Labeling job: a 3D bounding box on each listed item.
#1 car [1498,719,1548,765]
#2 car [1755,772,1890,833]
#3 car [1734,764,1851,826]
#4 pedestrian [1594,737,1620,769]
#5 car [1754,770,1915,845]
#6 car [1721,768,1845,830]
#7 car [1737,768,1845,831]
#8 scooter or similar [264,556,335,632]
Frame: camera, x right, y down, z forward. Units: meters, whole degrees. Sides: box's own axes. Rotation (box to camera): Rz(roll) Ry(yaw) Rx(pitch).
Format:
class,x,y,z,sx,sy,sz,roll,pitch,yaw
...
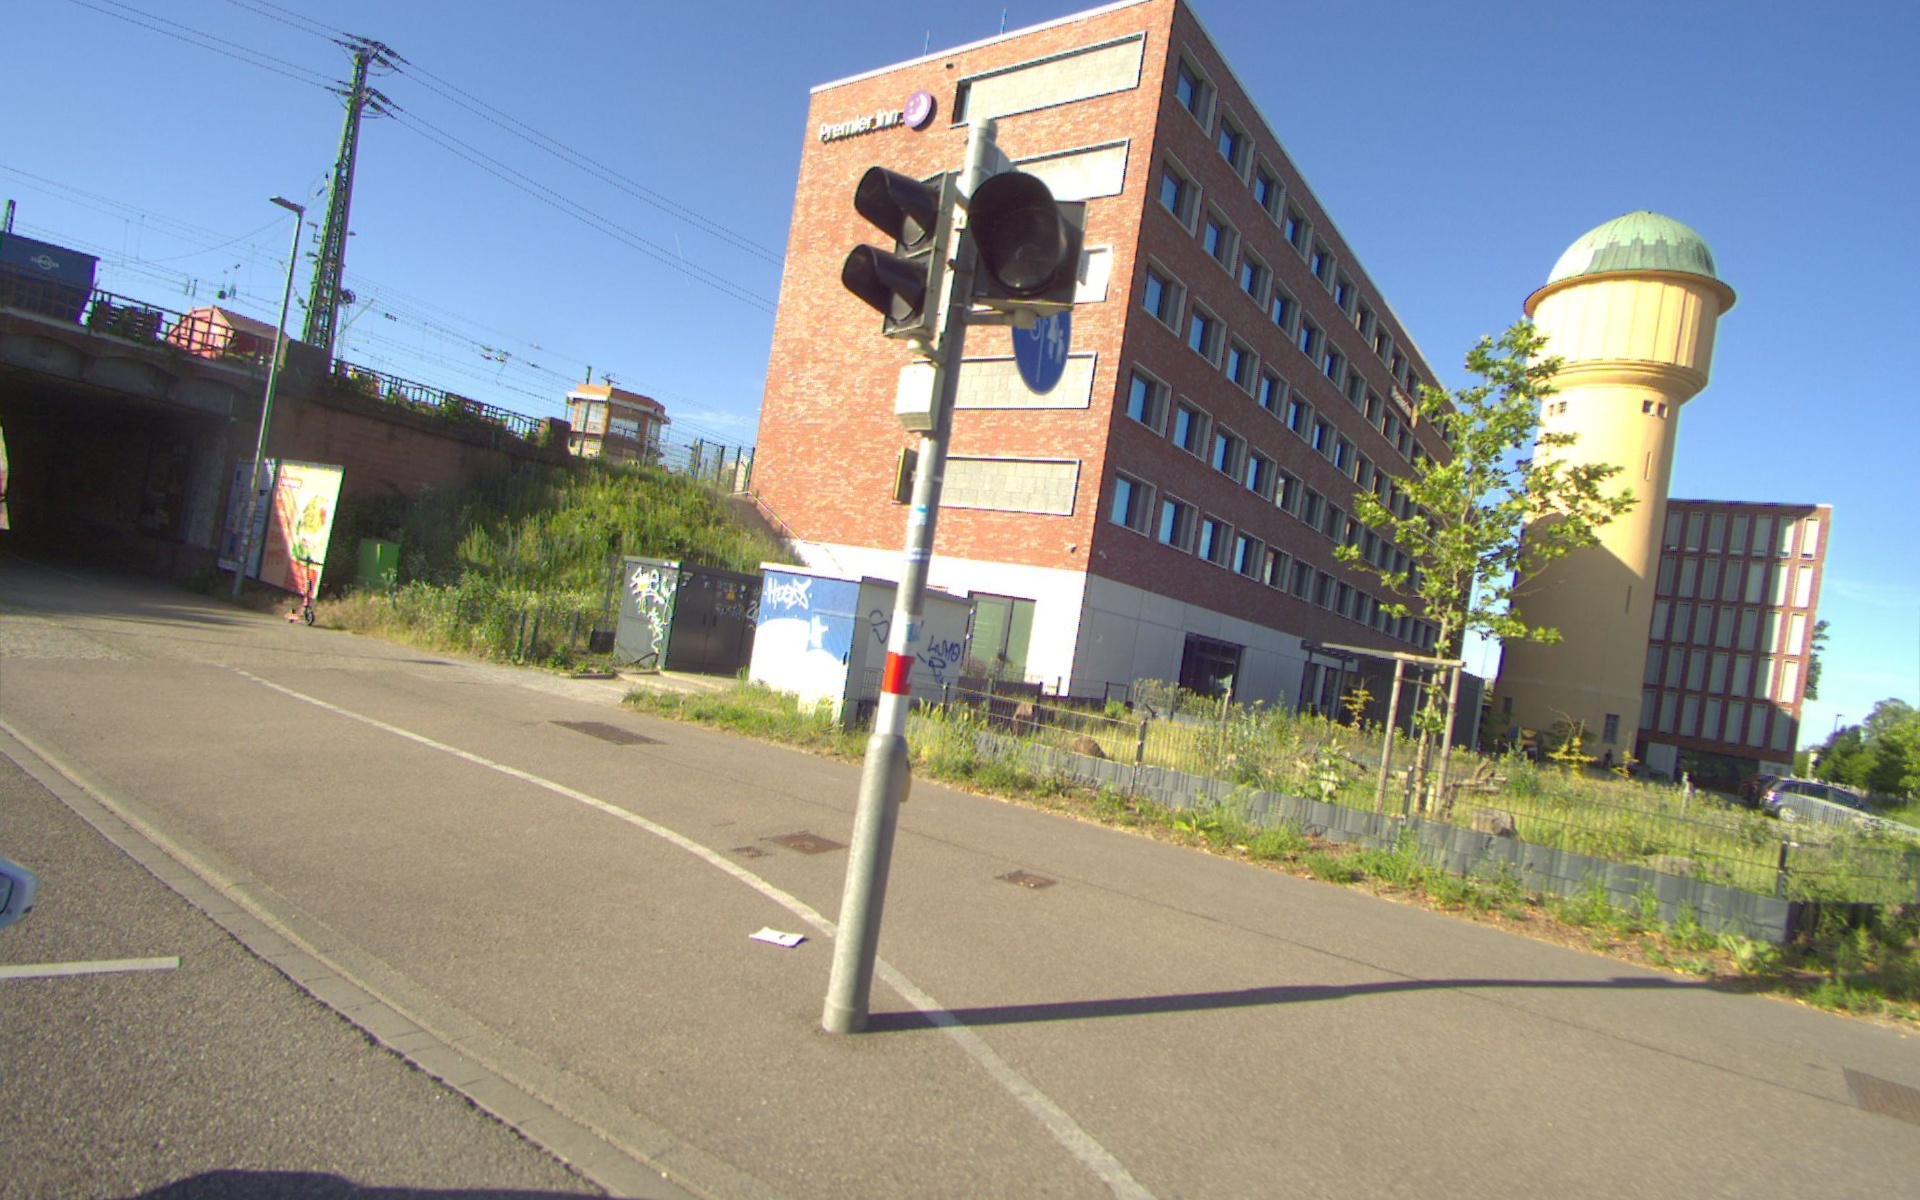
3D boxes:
class,x,y,z,sx,sy,sz,roll,pitch,yaw
car,33.041,8.352,59.014,1.840,2.288,4.930,8,-3,35
car,35.044,8.212,41.021,3.941,1.567,1.830,7,-3,39
car,39.043,9.136,47.315,3.941,2.002,1.995,7,-2,39
pedestrian,41.591,9.829,64.676,0.879,1.884,0.973,8,-2,13
car,33.265,7.845,38.445,4.265,1.848,1.997,8,-2,36
car,40.681,9.812,49.890,4.463,2.036,1.996,8,-2,37
car,37.661,8.999,45.699,3.430,2.044,1.833,8,-2,36
scooter or similar,-12.003,-0.120,18.275,1.271,1.210,0.538,7,-2,37
